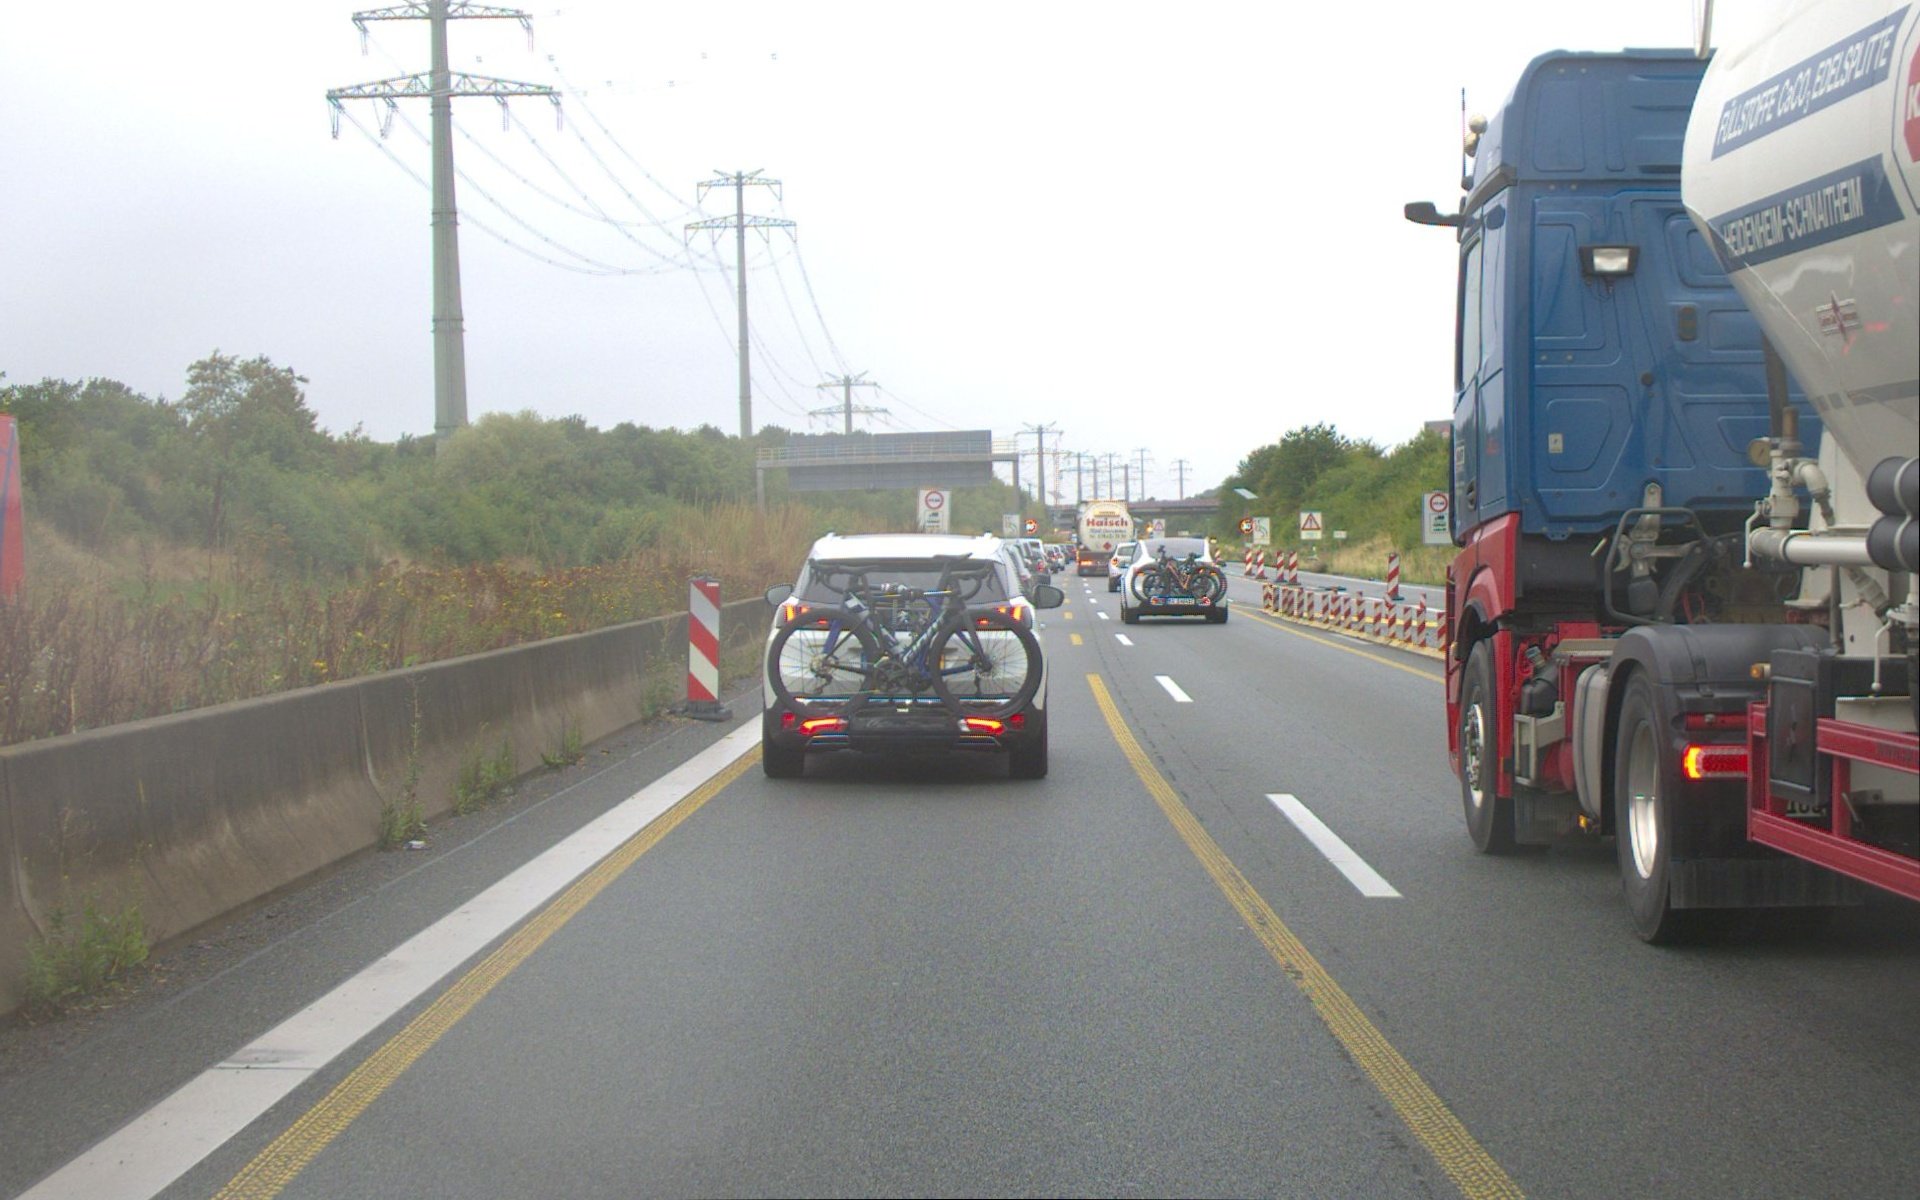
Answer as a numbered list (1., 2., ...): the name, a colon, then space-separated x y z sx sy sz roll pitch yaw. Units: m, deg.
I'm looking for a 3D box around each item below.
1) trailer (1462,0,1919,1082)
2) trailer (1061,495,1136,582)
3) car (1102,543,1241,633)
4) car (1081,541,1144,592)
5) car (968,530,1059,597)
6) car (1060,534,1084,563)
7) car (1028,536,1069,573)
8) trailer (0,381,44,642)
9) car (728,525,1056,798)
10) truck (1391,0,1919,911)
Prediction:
1. trailer: 3.686 -0.689 9.860 2.519 3.821 12.352 1 0 -1
2. trailer: 6.400 -2.804 160.105 2.637 3.880 10.544 1 0 -2
3. car: 3.938 -0.259 64.883 2.045 1.590 5.802 1 1 -2
4. car: 4.749 -1.062 107.216 1.870 1.529 4.197 0 1 1
5. car: 1.259 -0.900 82.907 1.993 1.578 4.001 0 1 -2
6. car: 7.910 -3.647 241.863 1.654 2.007 4.000 0 1 2
7. car: 4.824 -2.491 188.889 1.993 2.007 4.000 1 0 -2
8. trailer: -15.522 -1.273 45.585 3.037 3.801 13.978 1 0 0
9. car: -0.389 0.322 22.540 1.928 1.605 4.595 0 1 0
10. truck: 3.543 -0.718 15.957 2.547 3.933 4.000 1 0 0
